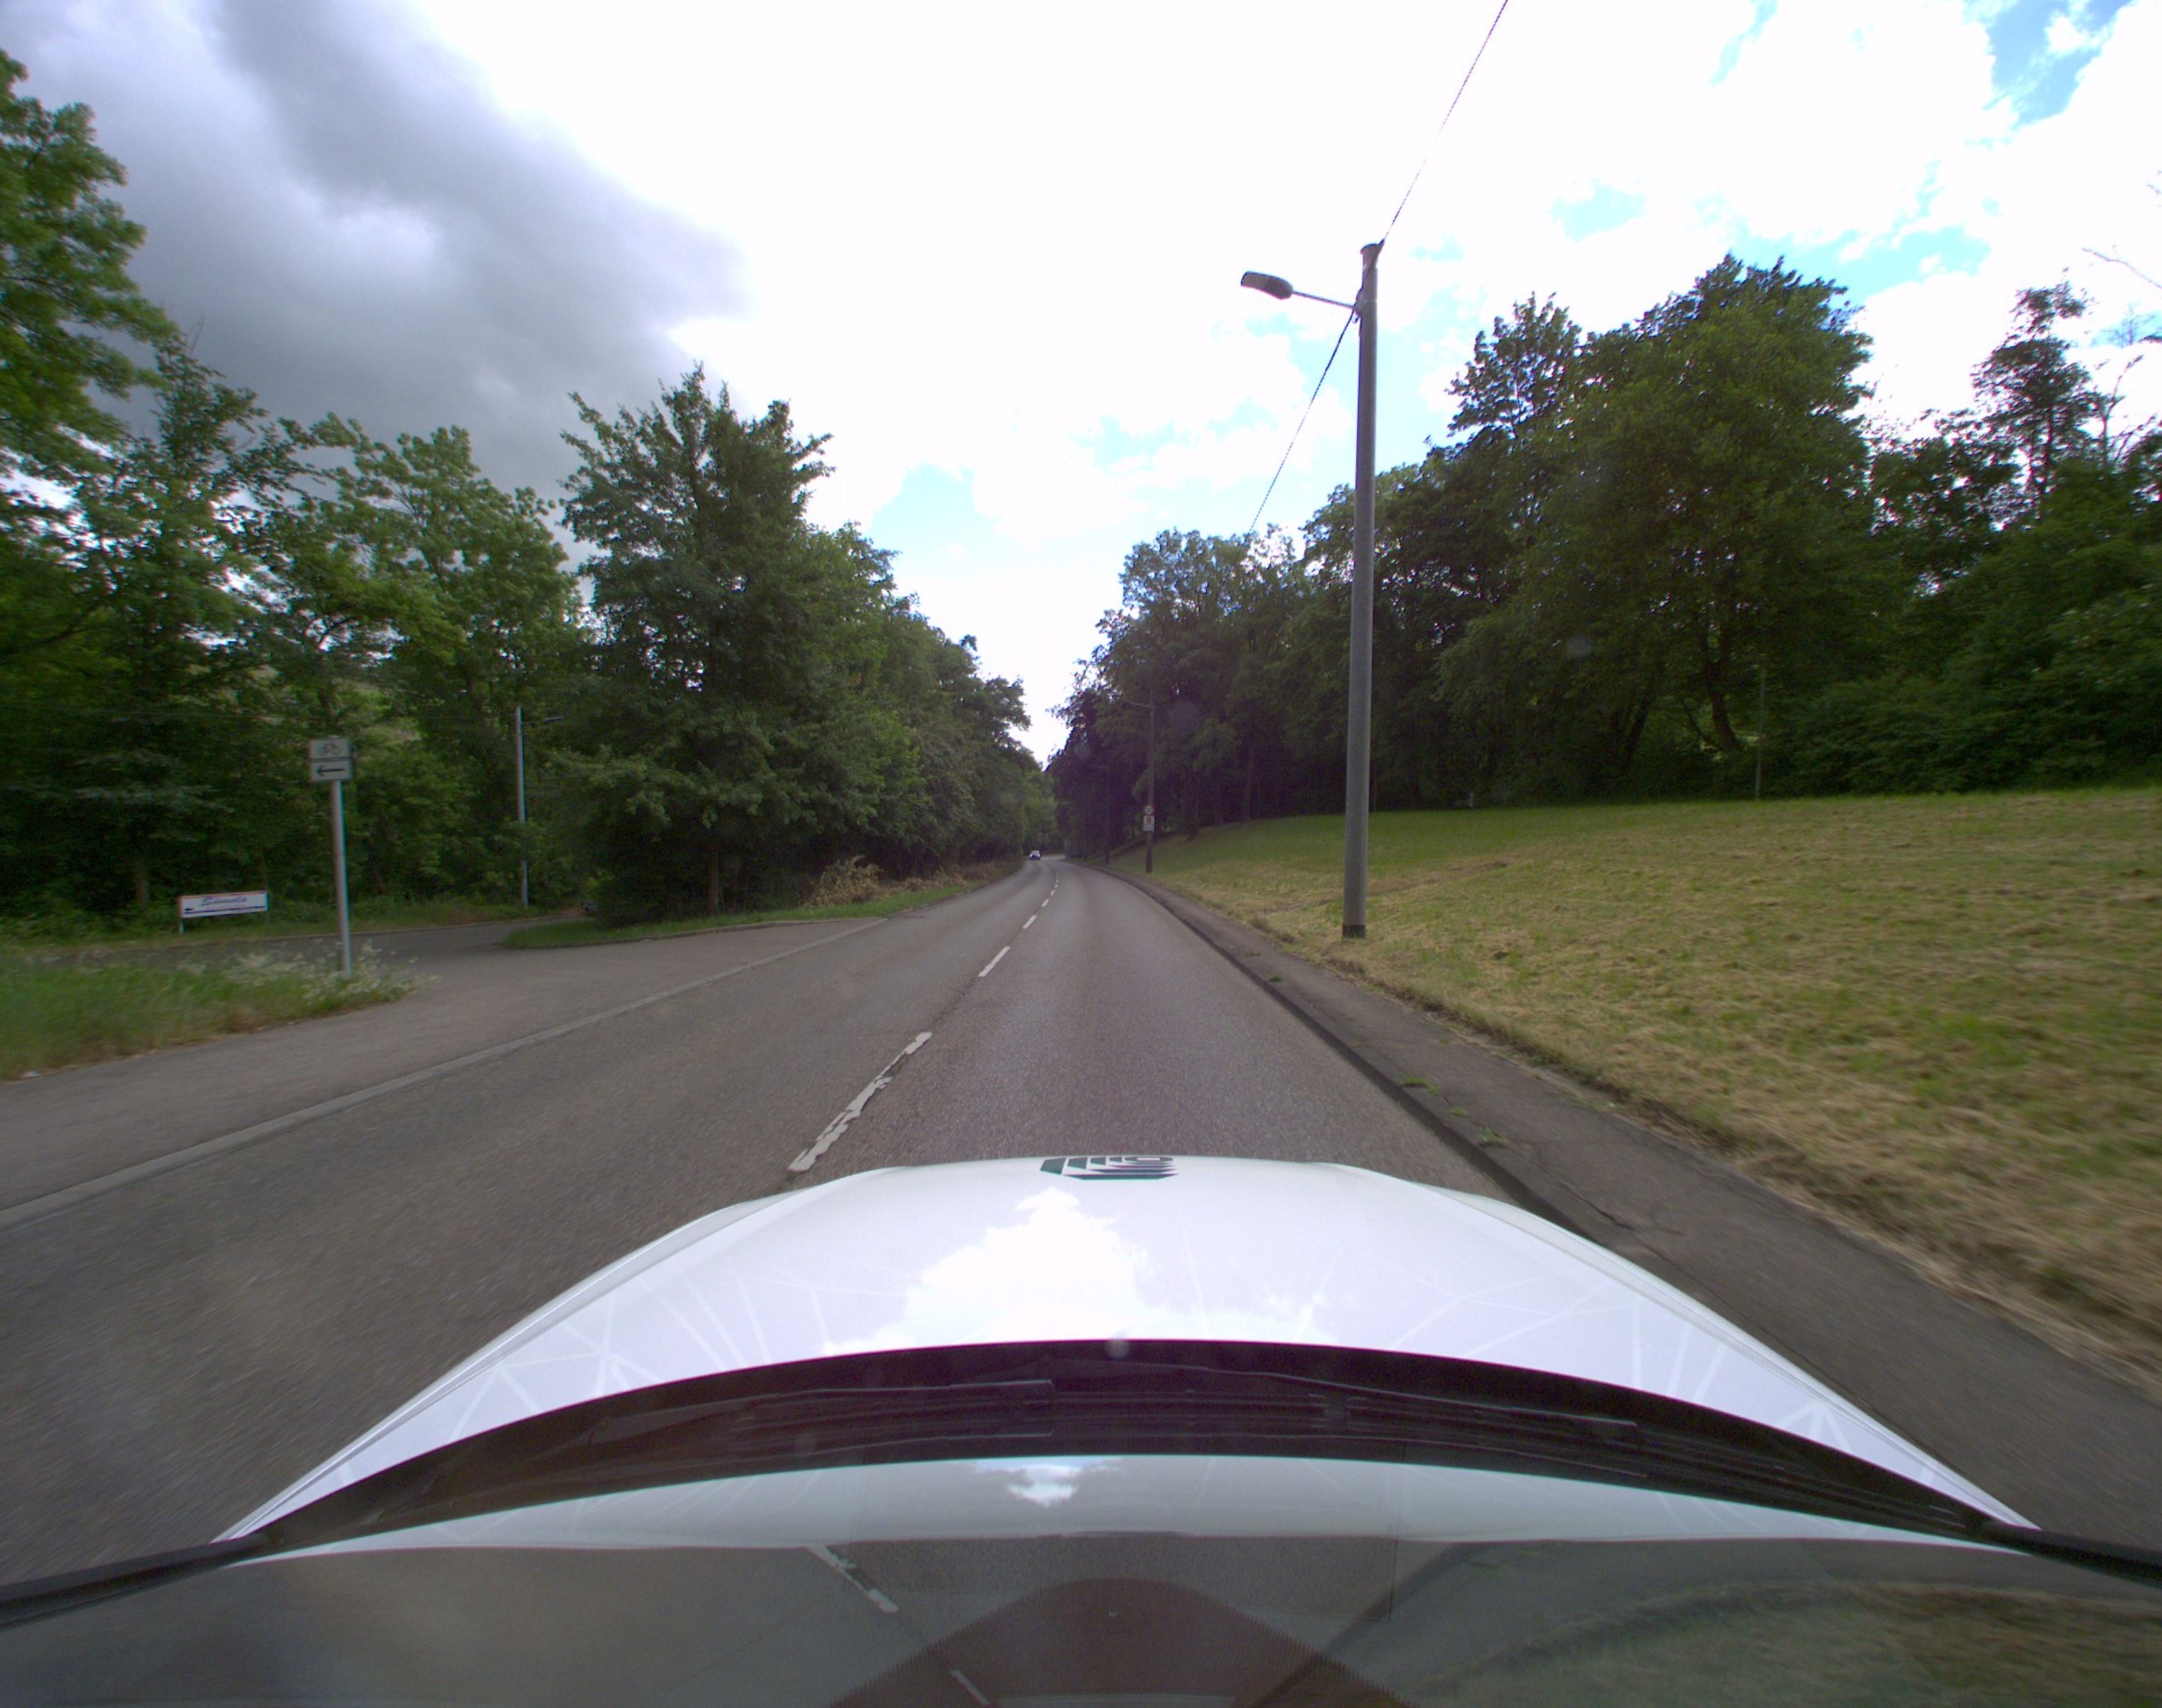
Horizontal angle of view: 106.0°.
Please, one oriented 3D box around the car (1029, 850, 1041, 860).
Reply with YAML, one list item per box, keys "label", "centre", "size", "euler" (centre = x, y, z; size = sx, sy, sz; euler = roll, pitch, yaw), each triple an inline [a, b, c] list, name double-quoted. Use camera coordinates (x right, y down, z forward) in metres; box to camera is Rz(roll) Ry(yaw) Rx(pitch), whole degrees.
- label: "car"
  centre: [-8.900, 0.215, 157.831]
  size: [1.988, 1.948, 4.943]
  euler: [0, -1, -1]
